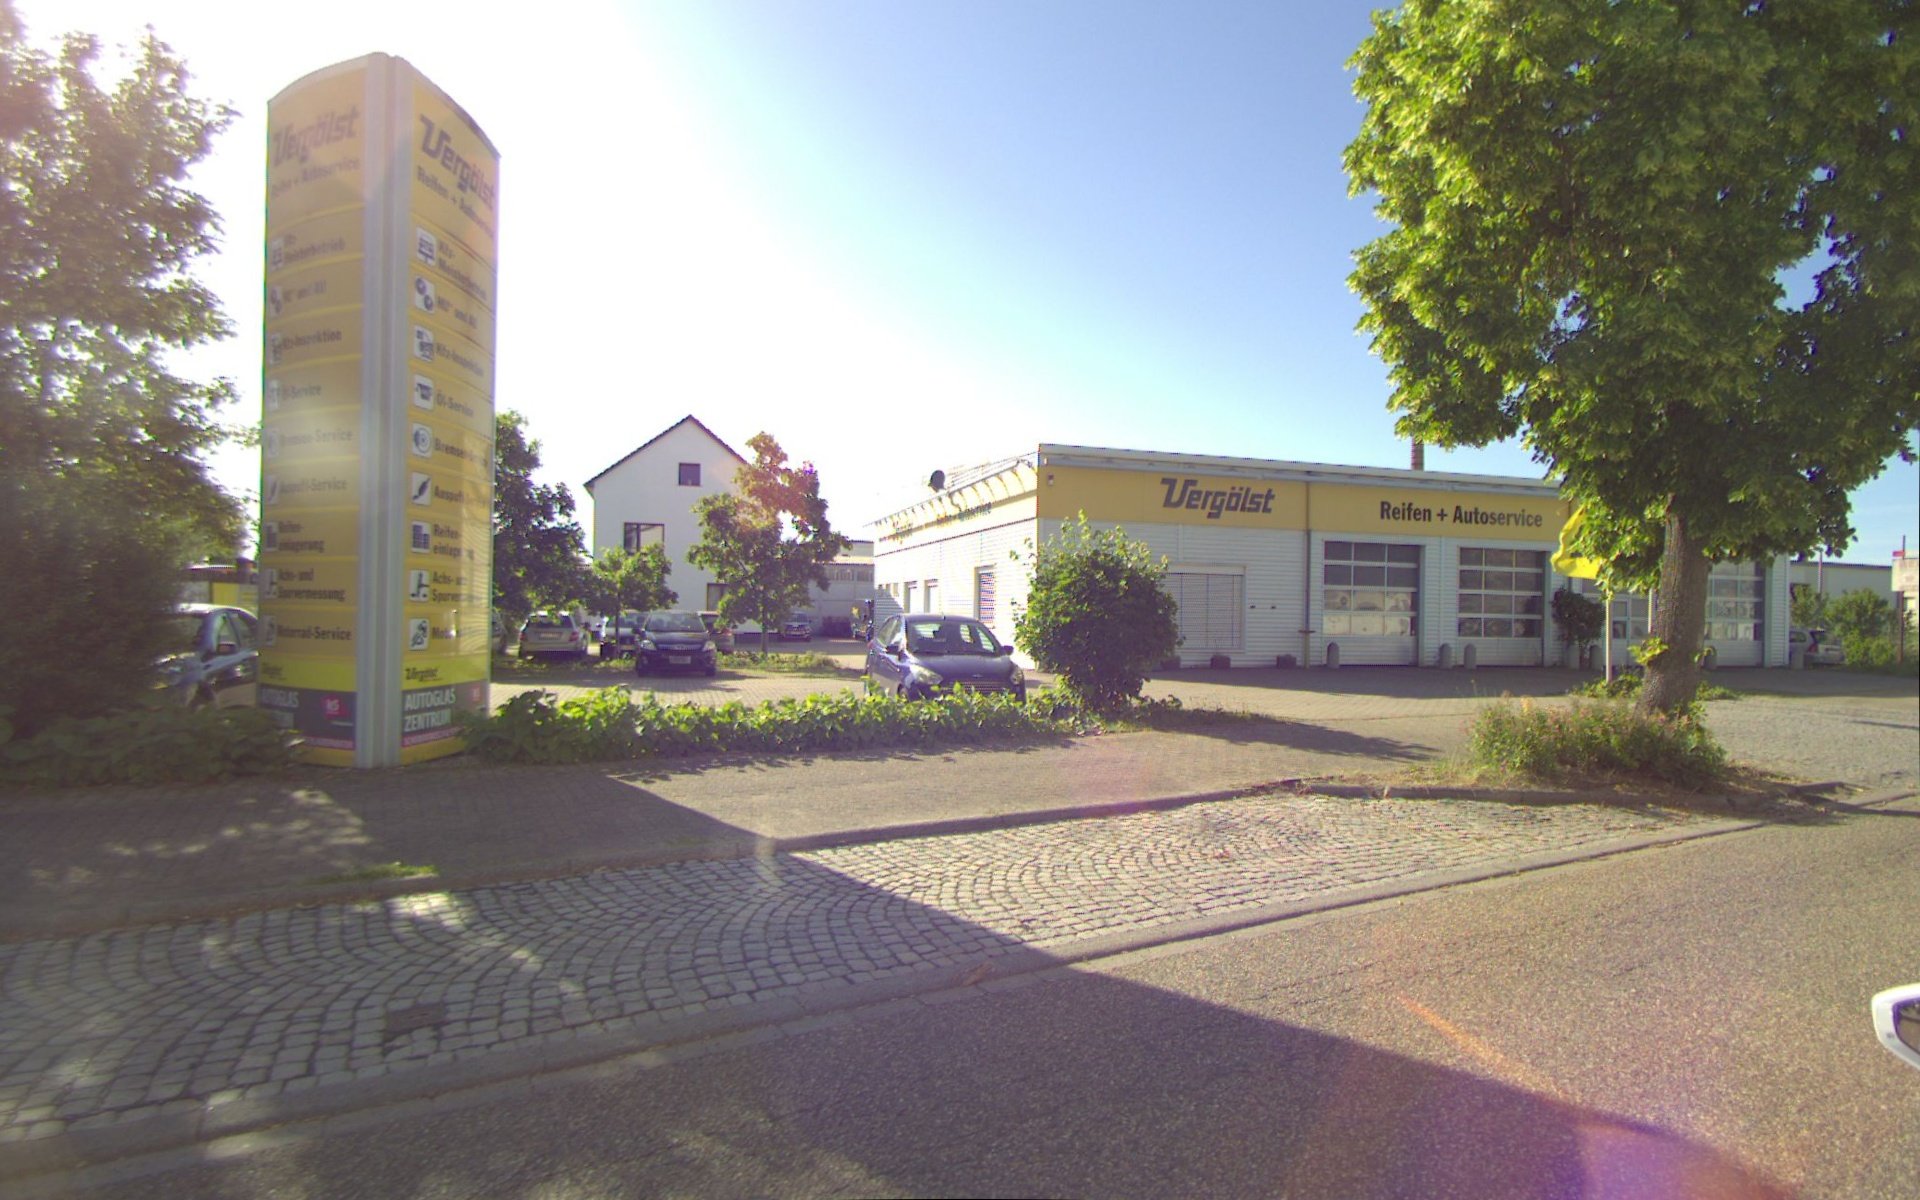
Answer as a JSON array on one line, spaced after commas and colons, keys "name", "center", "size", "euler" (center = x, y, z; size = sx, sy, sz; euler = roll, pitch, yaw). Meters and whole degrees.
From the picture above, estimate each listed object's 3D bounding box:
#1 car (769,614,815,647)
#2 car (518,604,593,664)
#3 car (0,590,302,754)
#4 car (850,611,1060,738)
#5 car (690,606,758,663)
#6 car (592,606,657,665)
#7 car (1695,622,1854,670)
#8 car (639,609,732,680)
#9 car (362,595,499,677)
[{"name": "car", "center": [-8.551, 1.522, 50.825], "size": [1.746, 1.535, 4.057], "euler": [1, -1, -18]}, {"name": "car", "center": [-12.059, 0.971, 30.164], "size": [1.746, 1.660, 4.057], "euler": [1, -1, -18]}, {"name": "car", "center": [-9.062, 0.700, 11.617], "size": [1.749, 1.535, 4.049], "euler": [1, -1, -24]}, {"name": "car", "center": [-0.258, 0.957, 14.662], "size": [1.967, 1.528, 4.345], "euler": [1, -1, -16]}, {"name": "car", "center": [-7.469, 1.052, 31.579], "size": [1.746, 1.660, 4.057], "euler": [1, -1, -18]}, {"name": "car", "center": [-10.192, 1.047, 30.665], "size": [1.746, 1.660, 4.057], "euler": [1, -1, -18]}, {"name": "car", "center": [29.625, 1.634, 36.698], "size": [1.887, 1.595, 4.153], "euler": [1, -1, -20]}, {"name": "car", "center": [-6.709, 1.006, 24.280], "size": [1.968, 1.528, 4.441], "euler": [1, -1, -18]}, {"name": "car", "center": [-11.860, 0.768, 22.817], "size": [1.968, 1.677, 4.316], "euler": [1, -1, -18]}]
